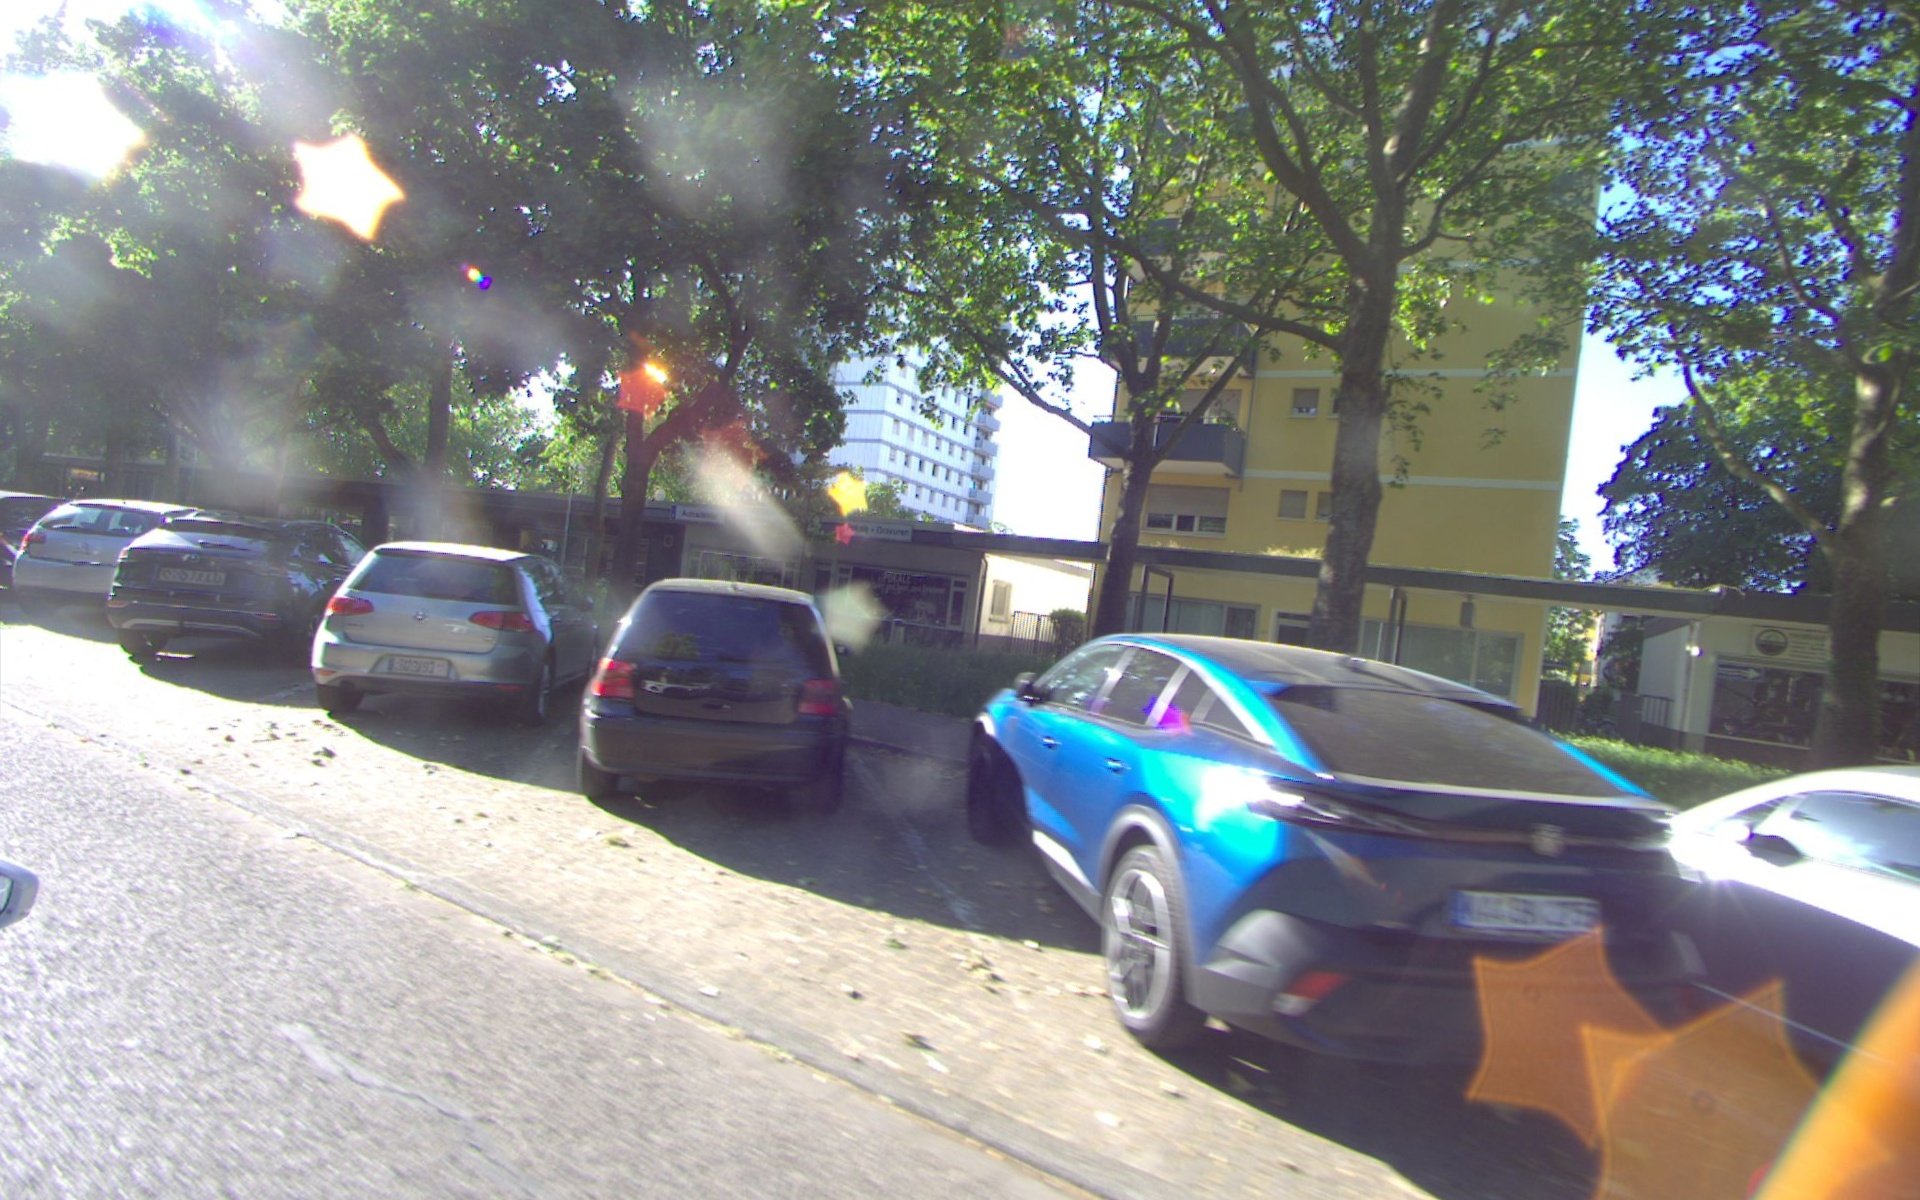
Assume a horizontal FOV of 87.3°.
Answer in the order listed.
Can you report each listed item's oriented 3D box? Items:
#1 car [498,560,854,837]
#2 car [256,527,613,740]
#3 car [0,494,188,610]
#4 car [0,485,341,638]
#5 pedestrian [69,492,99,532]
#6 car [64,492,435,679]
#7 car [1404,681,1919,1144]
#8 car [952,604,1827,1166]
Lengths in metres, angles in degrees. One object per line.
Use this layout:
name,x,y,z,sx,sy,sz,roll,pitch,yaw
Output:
car,-2.000,0.557,8.019,1.887,1.469,4.452,5,0,-10
car,-4.722,0.227,9.847,1.888,1.469,4.450,5,0,-12
car,-13.681,-0.762,14.723,1.948,1.477,4.612,7,-1,-14
car,-10.764,-0.464,14.186,1.826,1.589,4.615,7,-1,-11
pedestrian,-47.288,-4.737,54.335,0.738,2.038,0.820,7,0,-8
car,-7.960,-0.189,11.902,1.827,1.590,4.611,6,0,-13
car,4.067,1.305,4.309,1.664,1.314,4.319,6,0,-11
car,1.323,0.906,5.088,1.826,1.442,4.319,6,0,-11
